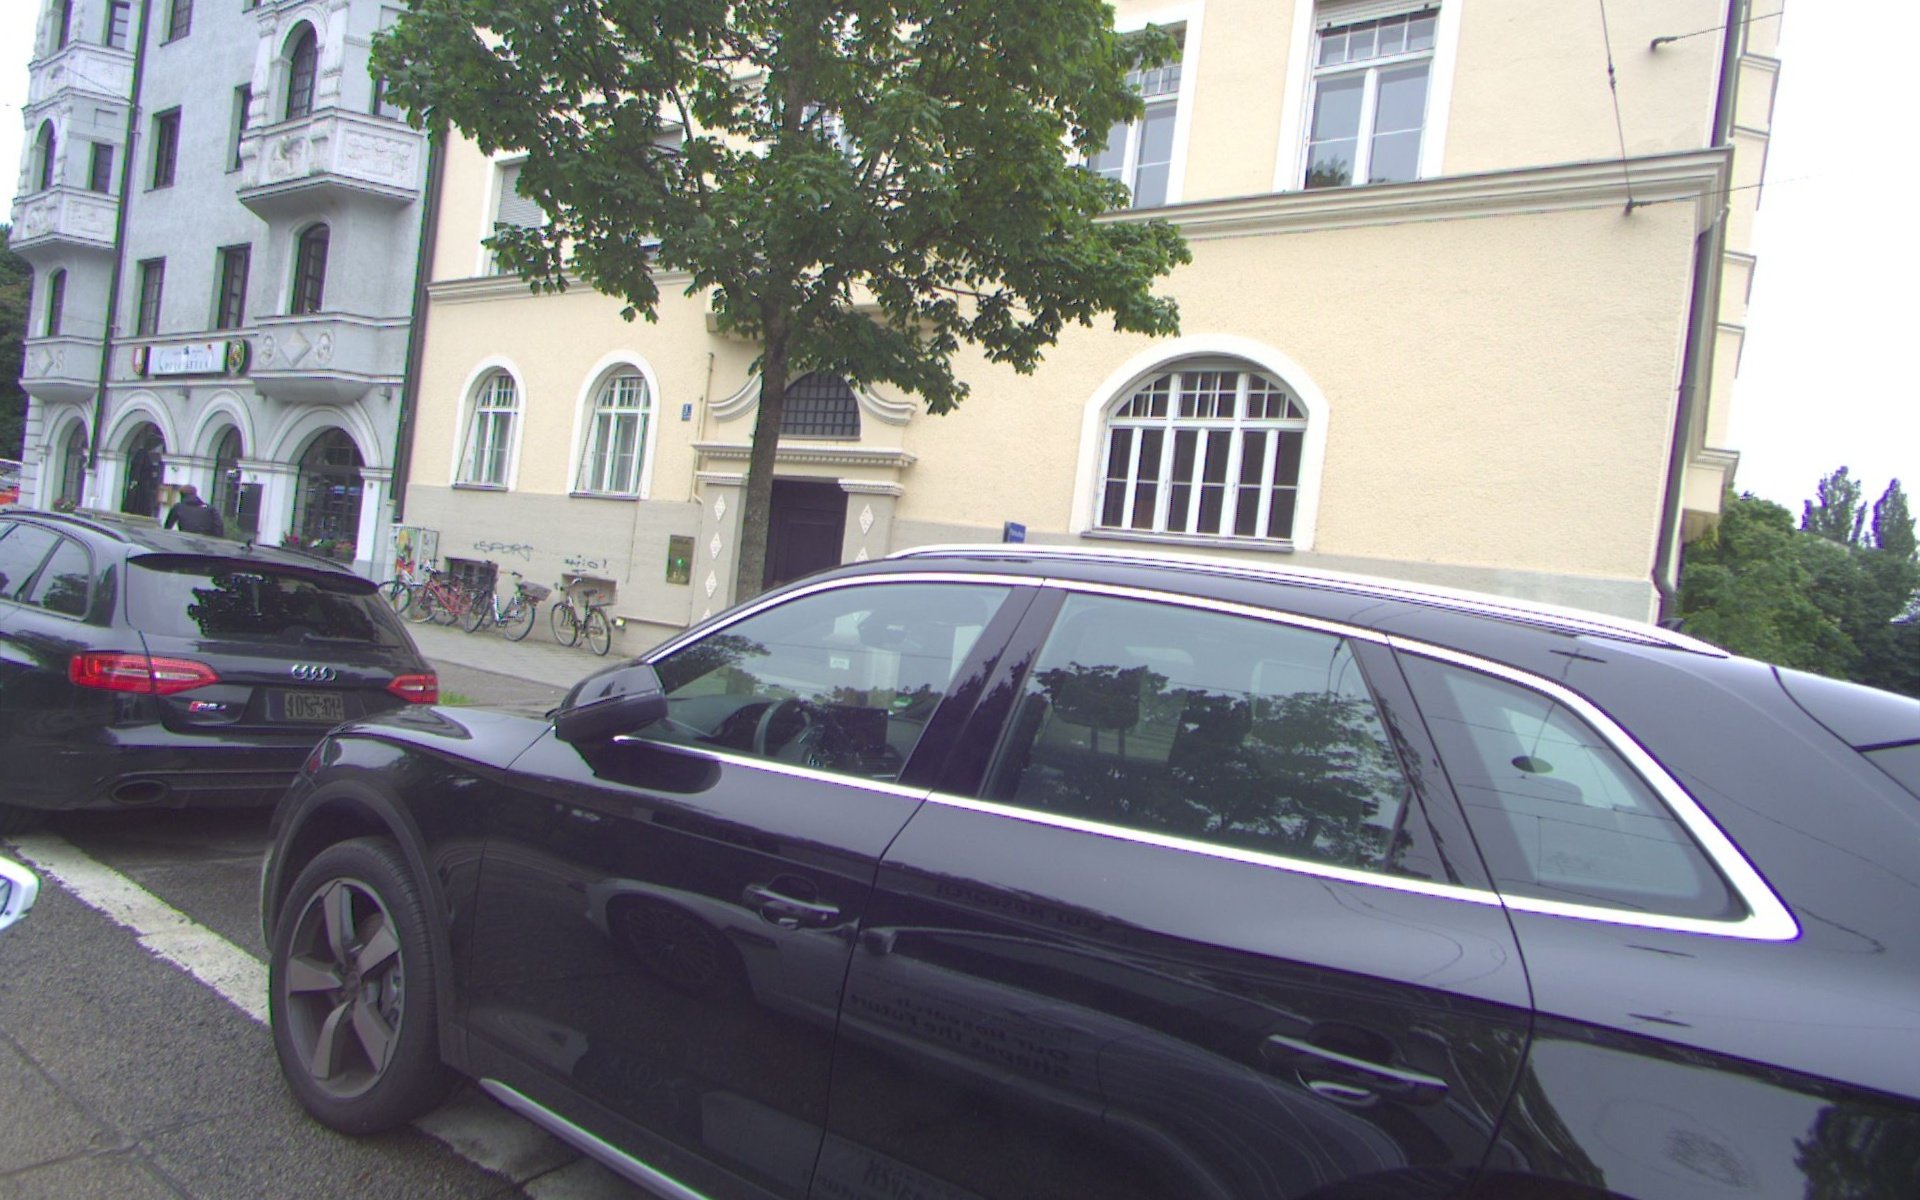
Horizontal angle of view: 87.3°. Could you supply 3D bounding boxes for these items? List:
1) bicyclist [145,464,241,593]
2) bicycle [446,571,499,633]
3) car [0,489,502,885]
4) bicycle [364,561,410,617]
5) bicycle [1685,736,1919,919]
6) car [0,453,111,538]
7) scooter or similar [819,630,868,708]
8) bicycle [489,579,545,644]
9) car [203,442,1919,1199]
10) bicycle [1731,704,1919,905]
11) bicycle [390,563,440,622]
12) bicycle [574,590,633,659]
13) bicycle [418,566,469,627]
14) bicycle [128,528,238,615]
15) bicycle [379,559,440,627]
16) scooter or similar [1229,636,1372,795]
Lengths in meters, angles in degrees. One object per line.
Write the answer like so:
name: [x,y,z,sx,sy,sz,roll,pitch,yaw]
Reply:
bicyclist: [-11.247,-1.037,14.759,0.714,1.749,0.726,7,-1,31]
bicycle: [-8.207,0.030,16.931,0.871,0.941,0.273,7,-1,33]
car: [-4.822,0.210,5.653,4.525,1.442,1.720,7,-2,31]
bicycle: [-10.545,-0.205,18.495,0.871,0.941,0.259,7,-1,33]
bicycle: [6.611,1.741,7.843,1.417,1.119,0.287,7,0,24]
car: [-36.706,-4.219,38.866,2.192,2.642,5.311,7,-2,29]
scooter or similar: [-1.467,0.864,12.713,0.413,0.921,0.348,7,-1,11]
bicycle: [-7.131,0.176,16.188,0.871,0.941,0.285,7,-1,33]
car: [0.228,0.675,2.489,4.414,1.677,1.777,7,-2,32]
bicycle: [6.959,1.575,7.715,1.511,1.327,0.332,7,-1,30]
bicycle: [-9.763,-0.136,18.011,0.871,0.941,0.291,7,-1,33]
bicycle: [-5.377,0.367,15.159,0.871,0.941,0.222,7,-1,31]
bicycle: [-8.981,-0.062,17.485,0.871,0.941,0.306,7,-1,34]
bicycle: [-11.463,-0.427,14.820,1.880,1.093,0.579,7,2,31]
bicycle: [-9.492,-0.128,17.343,1.203,1.051,0.242,7,-1,32]
scooter or similar: [3.238,1.074,9.577,1.122,1.328,0.262,7,-1,26]
